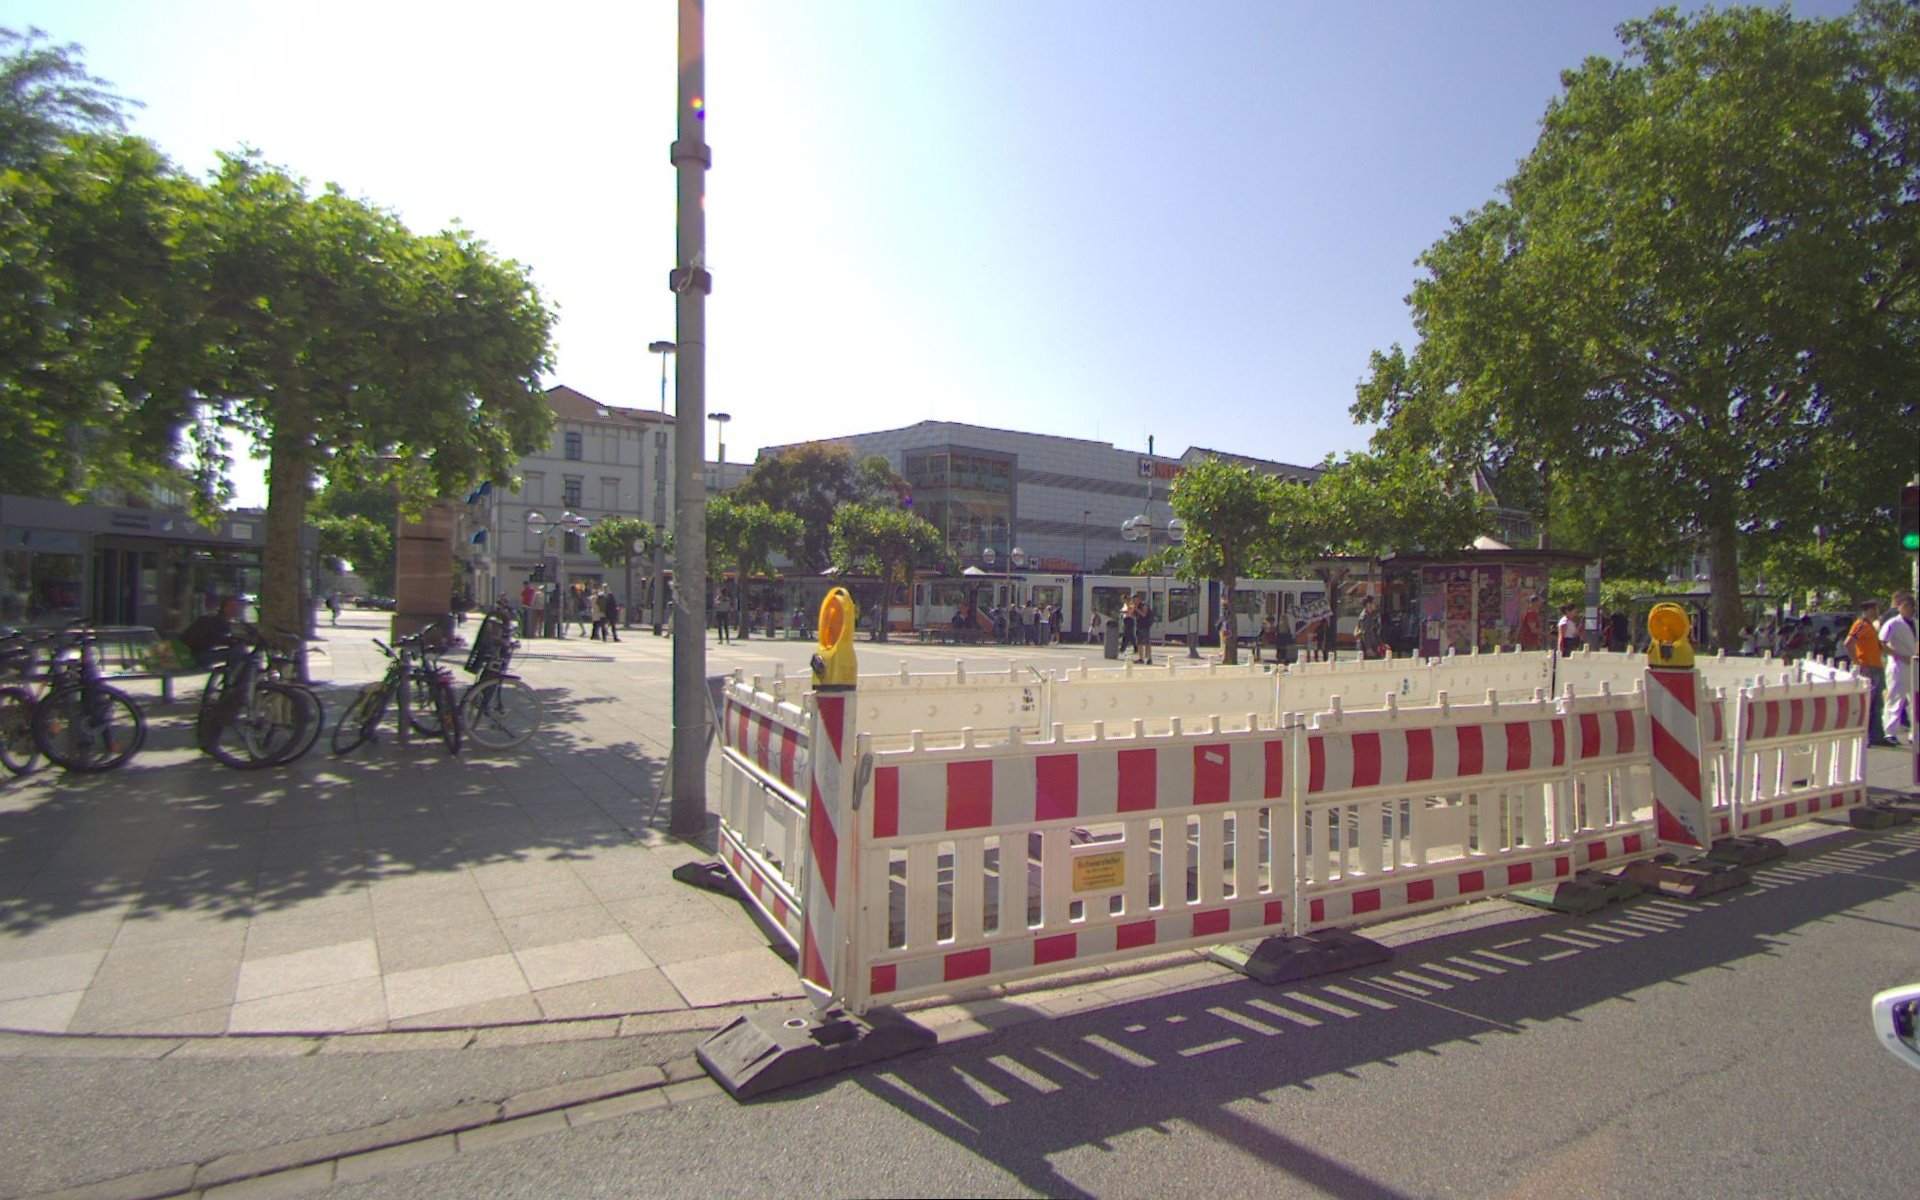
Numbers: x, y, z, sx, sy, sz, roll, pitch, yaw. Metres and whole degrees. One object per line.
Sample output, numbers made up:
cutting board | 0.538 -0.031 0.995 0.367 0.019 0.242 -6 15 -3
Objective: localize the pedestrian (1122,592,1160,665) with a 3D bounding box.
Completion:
pedestrian | 4.516 0.696 25.049 0.788 1.773 0.606 2 1 2

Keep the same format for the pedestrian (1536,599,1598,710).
pedestrian | 9.933 0.875 16.451 0.598 1.762 0.574 2 1 -24

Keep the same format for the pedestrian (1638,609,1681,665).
pedestrian | 19.194 1.009 27.562 0.717 1.498 0.633 2 0 -9

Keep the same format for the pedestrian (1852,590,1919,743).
pedestrian | 11.366 0.794 12.205 0.598 1.803 0.538 2 1 -24

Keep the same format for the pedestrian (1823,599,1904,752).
pedestrian | 10.717 0.873 11.936 0.531 1.741 0.605 2 1 29

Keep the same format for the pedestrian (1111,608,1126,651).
pedestrian | 6.751 1.251 42.888 0.594 1.772 0.747 1 0 9

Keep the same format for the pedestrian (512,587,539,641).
pedestrian | -13.604 0.431 31.458 0.600 1.643 0.796 1 1 -35

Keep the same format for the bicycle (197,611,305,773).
bicycle | -6.146 0.733 8.776 0.656 1.231 1.771 1 0 -32

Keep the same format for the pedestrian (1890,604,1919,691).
pedestrian | 19.386 0.959 20.334 0.598 1.734 0.574 2 1 -26

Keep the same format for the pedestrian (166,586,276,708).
pedestrian | -8.760 0.541 11.935 0.884 1.400 0.670 1 0 -21

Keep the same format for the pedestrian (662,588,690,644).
pedestrian | -9.210 0.528 32.532 0.600 1.773 0.796 1 1 -35

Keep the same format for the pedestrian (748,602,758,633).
pedestrian | -11.423 0.973 55.398 0.435 1.695 0.450 1 0 5

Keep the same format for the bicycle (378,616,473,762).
bicycle | -5.063 0.776 9.461 0.656 1.201 1.771 1 0 -32

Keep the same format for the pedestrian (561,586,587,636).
pedestrian | -13.129 0.373 34.143 0.600 1.688 0.796 1 1 -35

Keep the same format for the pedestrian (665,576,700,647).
pedestrian | -7.260 0.293 26.277 0.600 1.823 0.796 1 1 -35

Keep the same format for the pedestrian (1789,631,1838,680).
pedestrian | 20.989 1.359 24.704 0.653 1.159 0.633 2 0 -9

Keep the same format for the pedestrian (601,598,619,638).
pedestrian | -14.740 0.752 42.311 0.598 1.660 0.571 2 1 -25

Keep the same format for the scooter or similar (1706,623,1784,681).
scooter or similar | 20.408 1.338 26.145 1.018 1.439 1.281 1 0 1

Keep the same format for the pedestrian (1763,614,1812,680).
pedestrian | 20.309 1.139 24.649 0.653 1.586 0.633 2 0 -9

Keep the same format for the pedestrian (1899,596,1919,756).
pedestrian | 10.945 0.847 11.246 0.422 1.763 0.605 2 1 29

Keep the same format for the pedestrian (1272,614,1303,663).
pedestrian | 8.657 1.009 26.530 0.602 1.279 0.610 1 0 38

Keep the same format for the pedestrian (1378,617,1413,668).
pedestrian | 11.180 1.083 25.790 0.599 1.279 0.612 1 0 -4

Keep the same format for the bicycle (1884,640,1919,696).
bicycle | 18.870 1.314 19.508 1.903 1.042 0.489 1 0 -18

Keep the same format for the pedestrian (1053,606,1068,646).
pedestrian | 4.615 1.189 46.127 0.594 1.772 0.747 1 0 9

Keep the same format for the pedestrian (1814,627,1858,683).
pedestrian | 22.662 1.409 25.993 0.659 1.404 0.725 2 0 -37

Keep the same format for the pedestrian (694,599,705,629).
pedestrian | -14.761 0.793 56.851 0.435 1.695 0.450 1 0 5

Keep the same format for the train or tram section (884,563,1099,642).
train or tram section | 1.651 0.119 51.779 10.779 3.726 2.623 1 0 5

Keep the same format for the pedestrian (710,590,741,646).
pedestrian | -6.799 0.515 29.094 0.600 1.582 0.796 1 1 -35

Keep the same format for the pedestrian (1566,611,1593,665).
pedestrian | 18.945 1.161 30.712 0.489 1.624 0.500 2 -2 -10

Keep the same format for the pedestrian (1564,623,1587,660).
pedestrian | 26.001 1.749 42.444 0.739 1.534 0.600 1 0 -37

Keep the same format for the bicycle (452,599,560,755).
bicycle | -4.592 0.703 10.088 0.733 1.366 1.771 1 1 -32

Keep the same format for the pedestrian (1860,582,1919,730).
pedestrian | 12.636 0.736 13.494 0.645 1.916 0.573 2 1 -28

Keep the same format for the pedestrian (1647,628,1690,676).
pedestrian | 19.891 1.446 28.213 0.717 1.310 0.633 2 0 -9

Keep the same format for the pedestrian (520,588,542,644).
pedestrian | -13.778 0.521 32.272 0.498 1.773 0.540 1 1 -35

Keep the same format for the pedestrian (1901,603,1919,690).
pedestrian | 20.534 0.994 21.210 0.717 1.834 0.633 1 0 -9

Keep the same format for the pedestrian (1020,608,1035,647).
pedestrian | 3.092 1.235 45.919 0.594 1.772 0.747 1 0 9

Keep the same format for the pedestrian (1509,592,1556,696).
pedestrian | 10.799 0.815 18.967 0.651 1.904 0.631 2 1 26

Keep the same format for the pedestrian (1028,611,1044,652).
pedestrian | 3.383 1.386 44.619 0.594 1.772 0.747 1 0 9

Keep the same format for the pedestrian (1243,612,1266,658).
pedestrian | 8.360 0.973 28.569 0.600 1.279 0.611 1 0 16

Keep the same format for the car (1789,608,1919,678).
car | 27.999 1.308 30.409 4.674 1.981 1.862 2 0 -9

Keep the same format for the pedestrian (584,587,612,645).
pedestrian | -11.192 0.493 31.030 0.600 1.773 0.796 1 1 -35

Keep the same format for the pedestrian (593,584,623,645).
pedestrian | -10.342 0.419 29.534 0.600 1.773 0.796 1 1 -35

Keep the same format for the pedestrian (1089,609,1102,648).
pedestrian | 6.304 1.315 46.708 0.594 1.772 0.804 1 0 9

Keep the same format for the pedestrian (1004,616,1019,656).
pedestrian | 2.340 1.596 45.371 0.594 1.772 0.747 1 0 9

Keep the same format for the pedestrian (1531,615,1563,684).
pedestrian | 16.216 1.353 27.742 0.537 1.883 0.504 1 0 -8

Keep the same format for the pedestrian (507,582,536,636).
pedestrian | -14.656 0.285 33.590 0.792 1.773 0.602 3 1 44

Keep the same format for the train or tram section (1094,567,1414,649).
train or tram section | 14.573 0.389 50.745 15.234 3.726 2.622 1 0 4

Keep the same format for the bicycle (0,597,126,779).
bicycle | -7.402 0.647 8.214 0.656 1.326 1.771 1 0 -32

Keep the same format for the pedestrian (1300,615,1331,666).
pedestrian | 9.127 1.025 25.782 0.599 1.279 0.613 1 0 6

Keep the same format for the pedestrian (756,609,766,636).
pedestrian | -10.955 1.249 55.341 0.435 1.484 0.450 1 0 5

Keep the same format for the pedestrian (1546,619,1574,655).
pedestrian | 26.121 1.592 43.719 0.724 1.534 0.744 1 0 -16

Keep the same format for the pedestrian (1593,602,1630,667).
pedestrian | 18.742 0.992 28.896 0.604 1.833 0.634 2 -3 -10

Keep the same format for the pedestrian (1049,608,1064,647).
pedestrian | 4.359 1.237 45.537 0.594 1.772 0.747 1 0 9

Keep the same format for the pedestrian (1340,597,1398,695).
pedestrian | 6.693 0.748 16.454 0.598 1.553 0.574 2 1 -24
